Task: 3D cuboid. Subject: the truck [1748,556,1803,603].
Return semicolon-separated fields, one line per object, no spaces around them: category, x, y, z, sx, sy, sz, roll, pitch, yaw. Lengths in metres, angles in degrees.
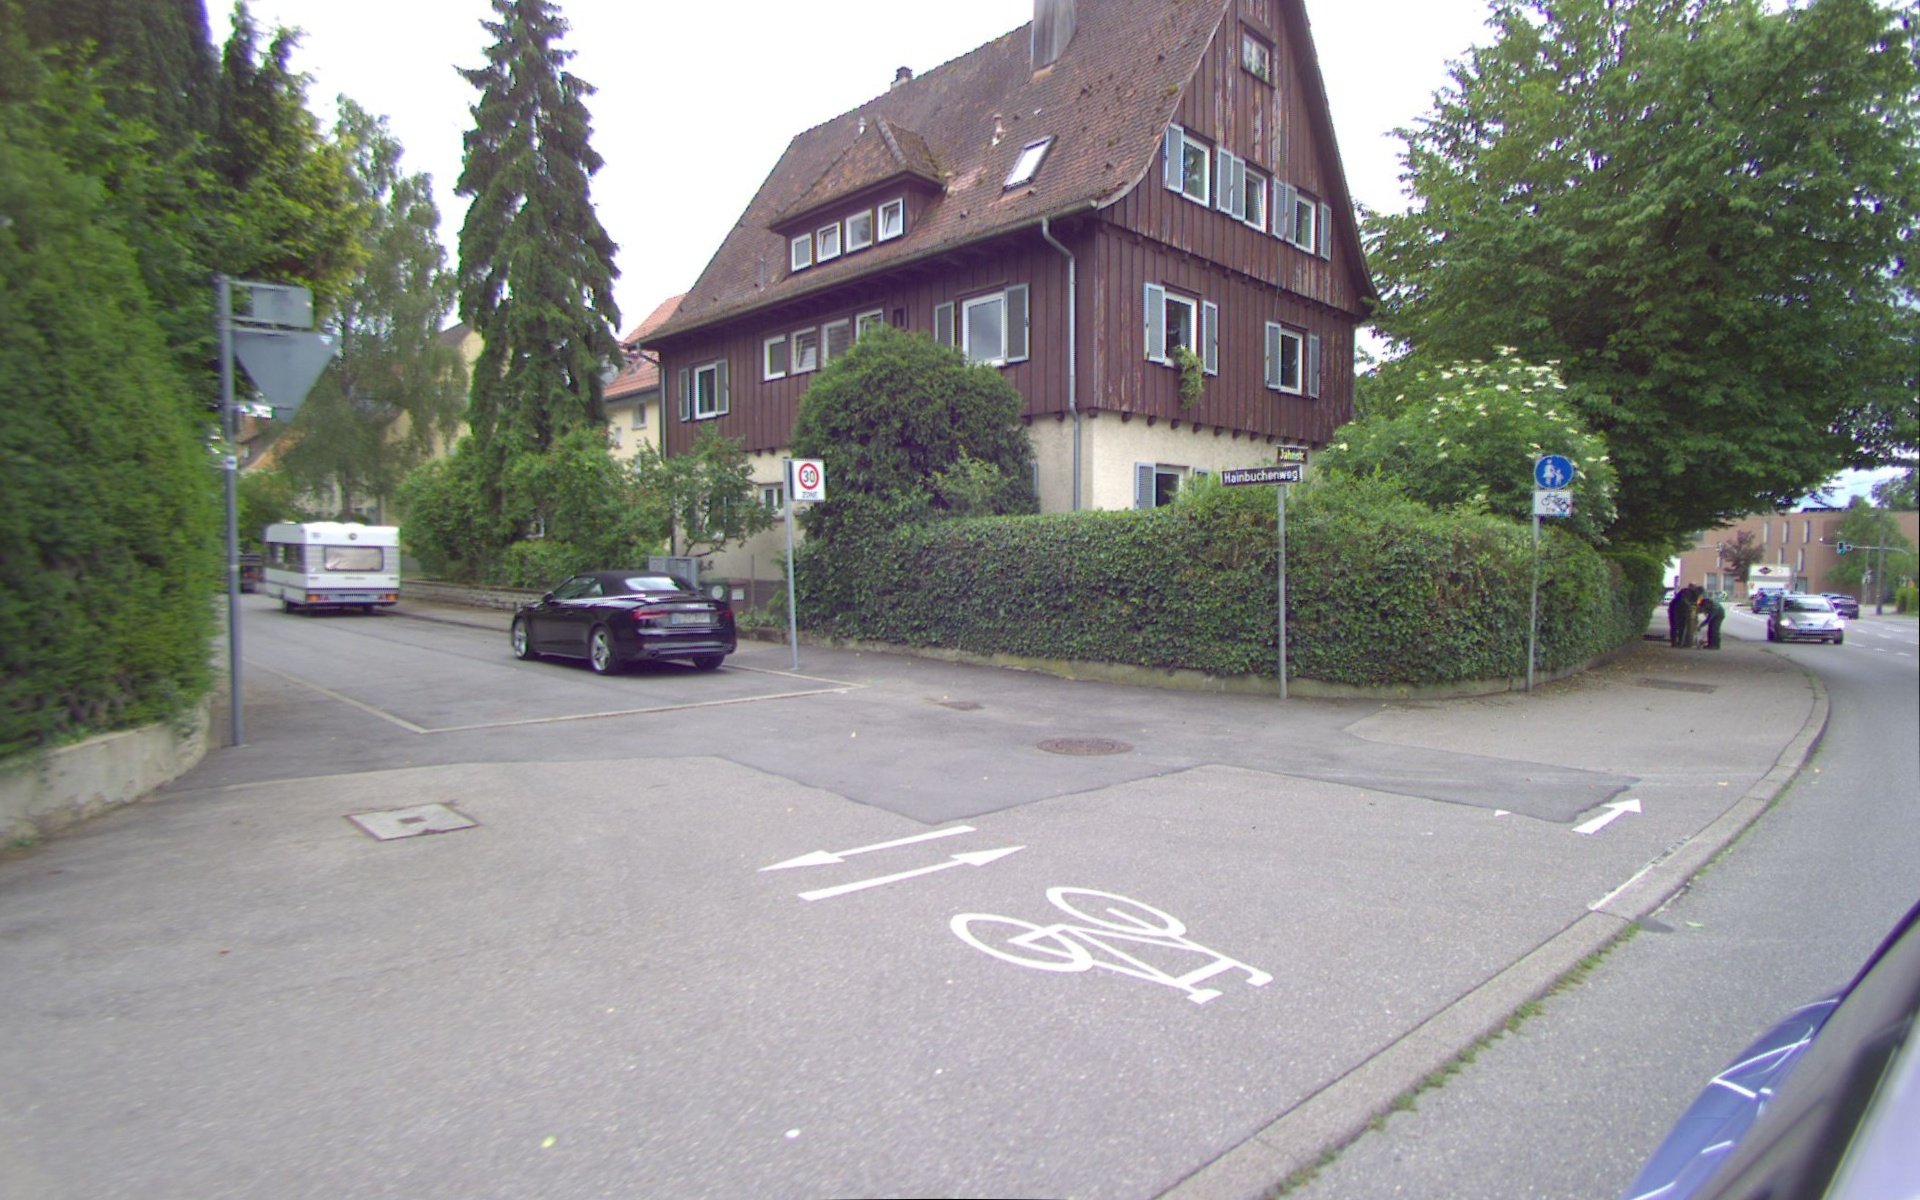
truck;64.280;-1.682;79.899;2.769;3.503;7.402;2;3;35

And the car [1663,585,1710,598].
car;92.881;-1.112;129.418;4.367;1.577;1.994;2;1;11

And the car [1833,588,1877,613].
car;55.495;0.004;62.805;1.677;1.490;3.964;2;1;37

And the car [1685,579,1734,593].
car;92.745;-1.712;125.327;4.367;1.577;1.994;2;1;11

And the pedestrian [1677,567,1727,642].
pedestrian;18.492;0.098;25.223;0.677;1.829;0.674;1;1;-6

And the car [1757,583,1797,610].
car;55.230;-0.264;68.468;1.800;1.738;4.323;2;1;35

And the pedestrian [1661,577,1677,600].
pedestrian;60.660;-0.991;86.583;0.836;1.947;0.797;1;1;15

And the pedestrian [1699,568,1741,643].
pedestrian;18.840;0.138;25.092;0.508;1.829;0.603;1;1;-15

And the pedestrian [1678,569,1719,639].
pedestrian;19.722;0.086;27.048;0.804;1.829;0.732;2;1;34

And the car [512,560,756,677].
car;-4.874;0.171;14.815;1.966;1.460;3.993;0;1;-42

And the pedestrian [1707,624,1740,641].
pedestrian;20.682;0.864;27.424;0.670;0.398;0.732;2;2;34

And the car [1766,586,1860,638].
car;28.278;0.340;33.664;1.987;1.616;3.950;1;1;35
